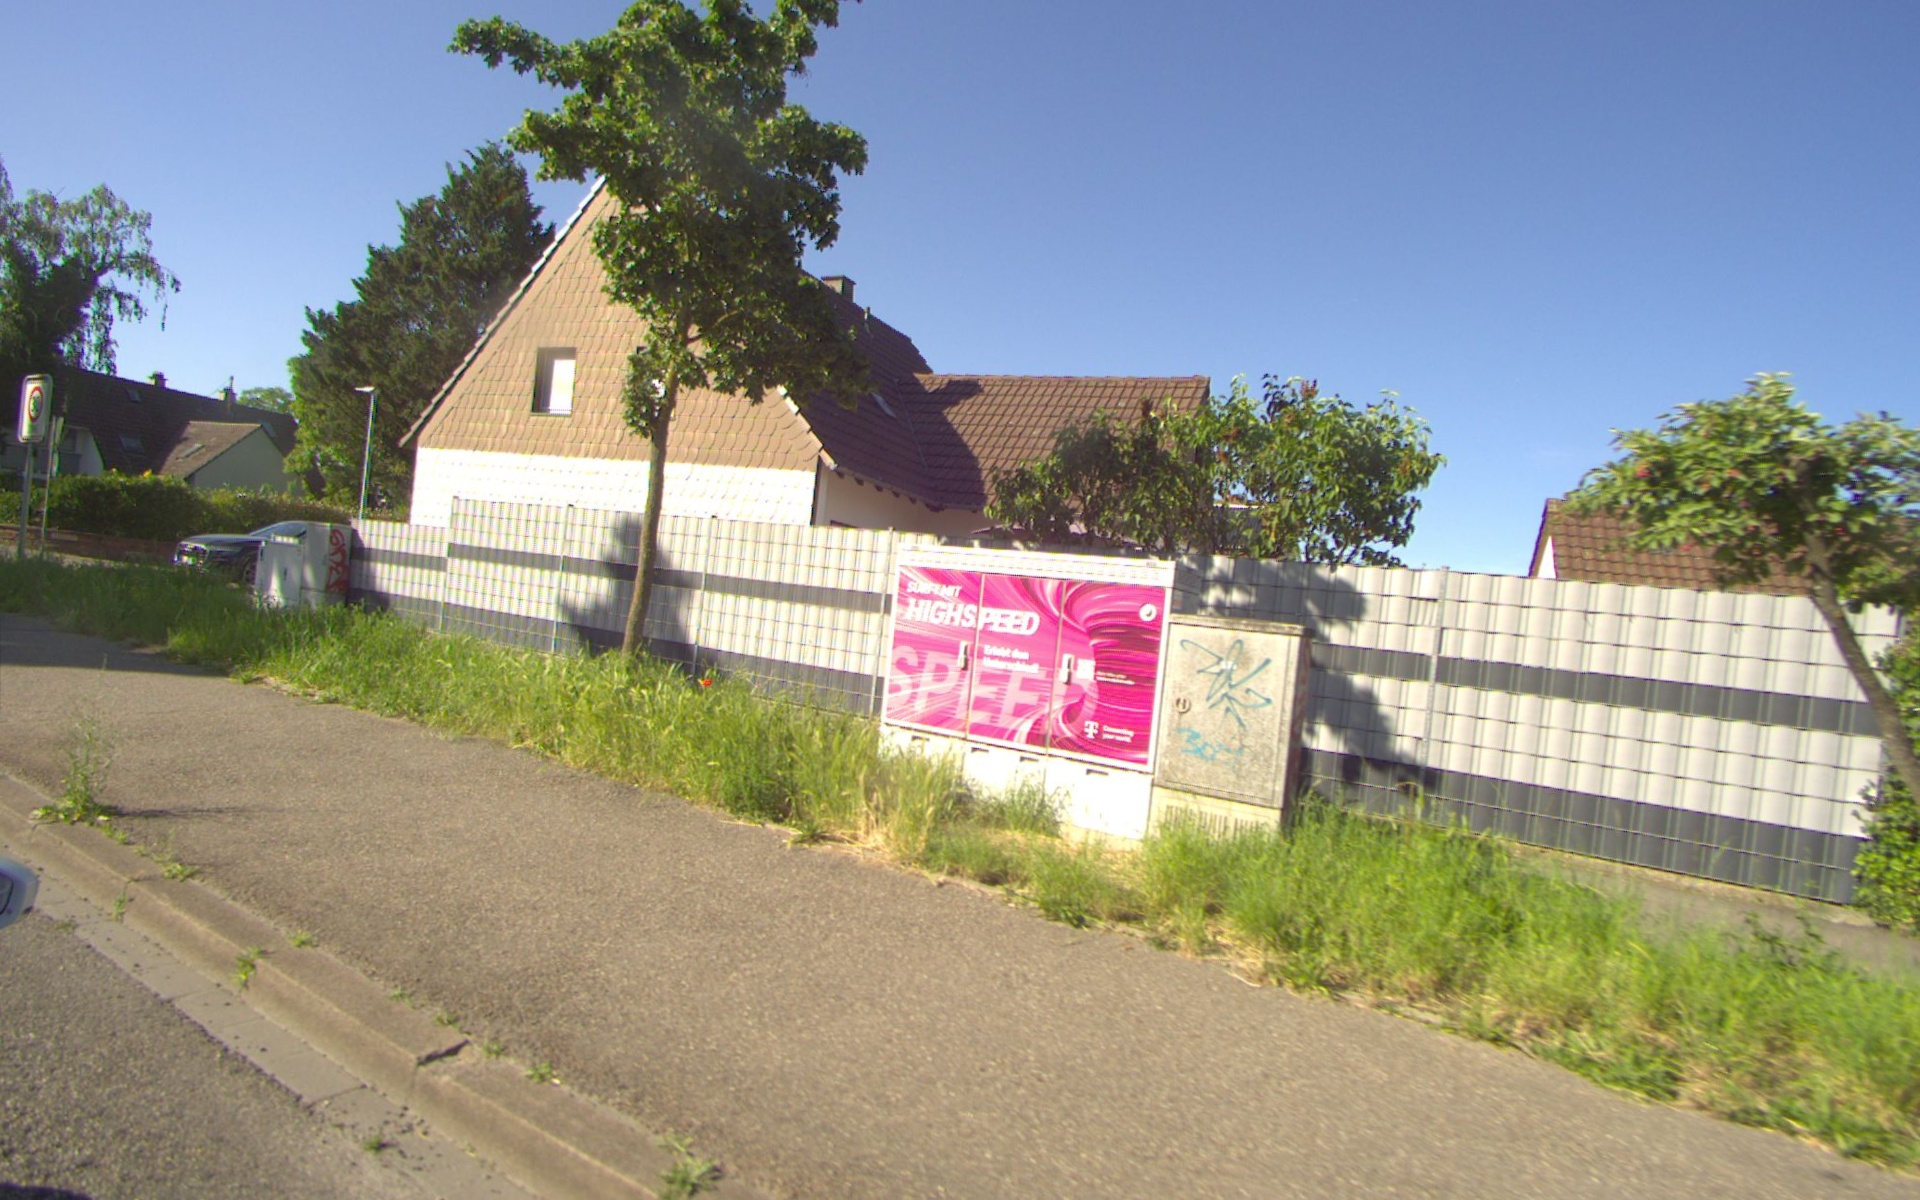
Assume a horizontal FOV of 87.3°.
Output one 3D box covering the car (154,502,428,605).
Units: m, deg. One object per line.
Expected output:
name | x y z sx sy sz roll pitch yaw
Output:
car | -15.049 -0.974 22.971 2.034 1.677 4.754 7 0 25
